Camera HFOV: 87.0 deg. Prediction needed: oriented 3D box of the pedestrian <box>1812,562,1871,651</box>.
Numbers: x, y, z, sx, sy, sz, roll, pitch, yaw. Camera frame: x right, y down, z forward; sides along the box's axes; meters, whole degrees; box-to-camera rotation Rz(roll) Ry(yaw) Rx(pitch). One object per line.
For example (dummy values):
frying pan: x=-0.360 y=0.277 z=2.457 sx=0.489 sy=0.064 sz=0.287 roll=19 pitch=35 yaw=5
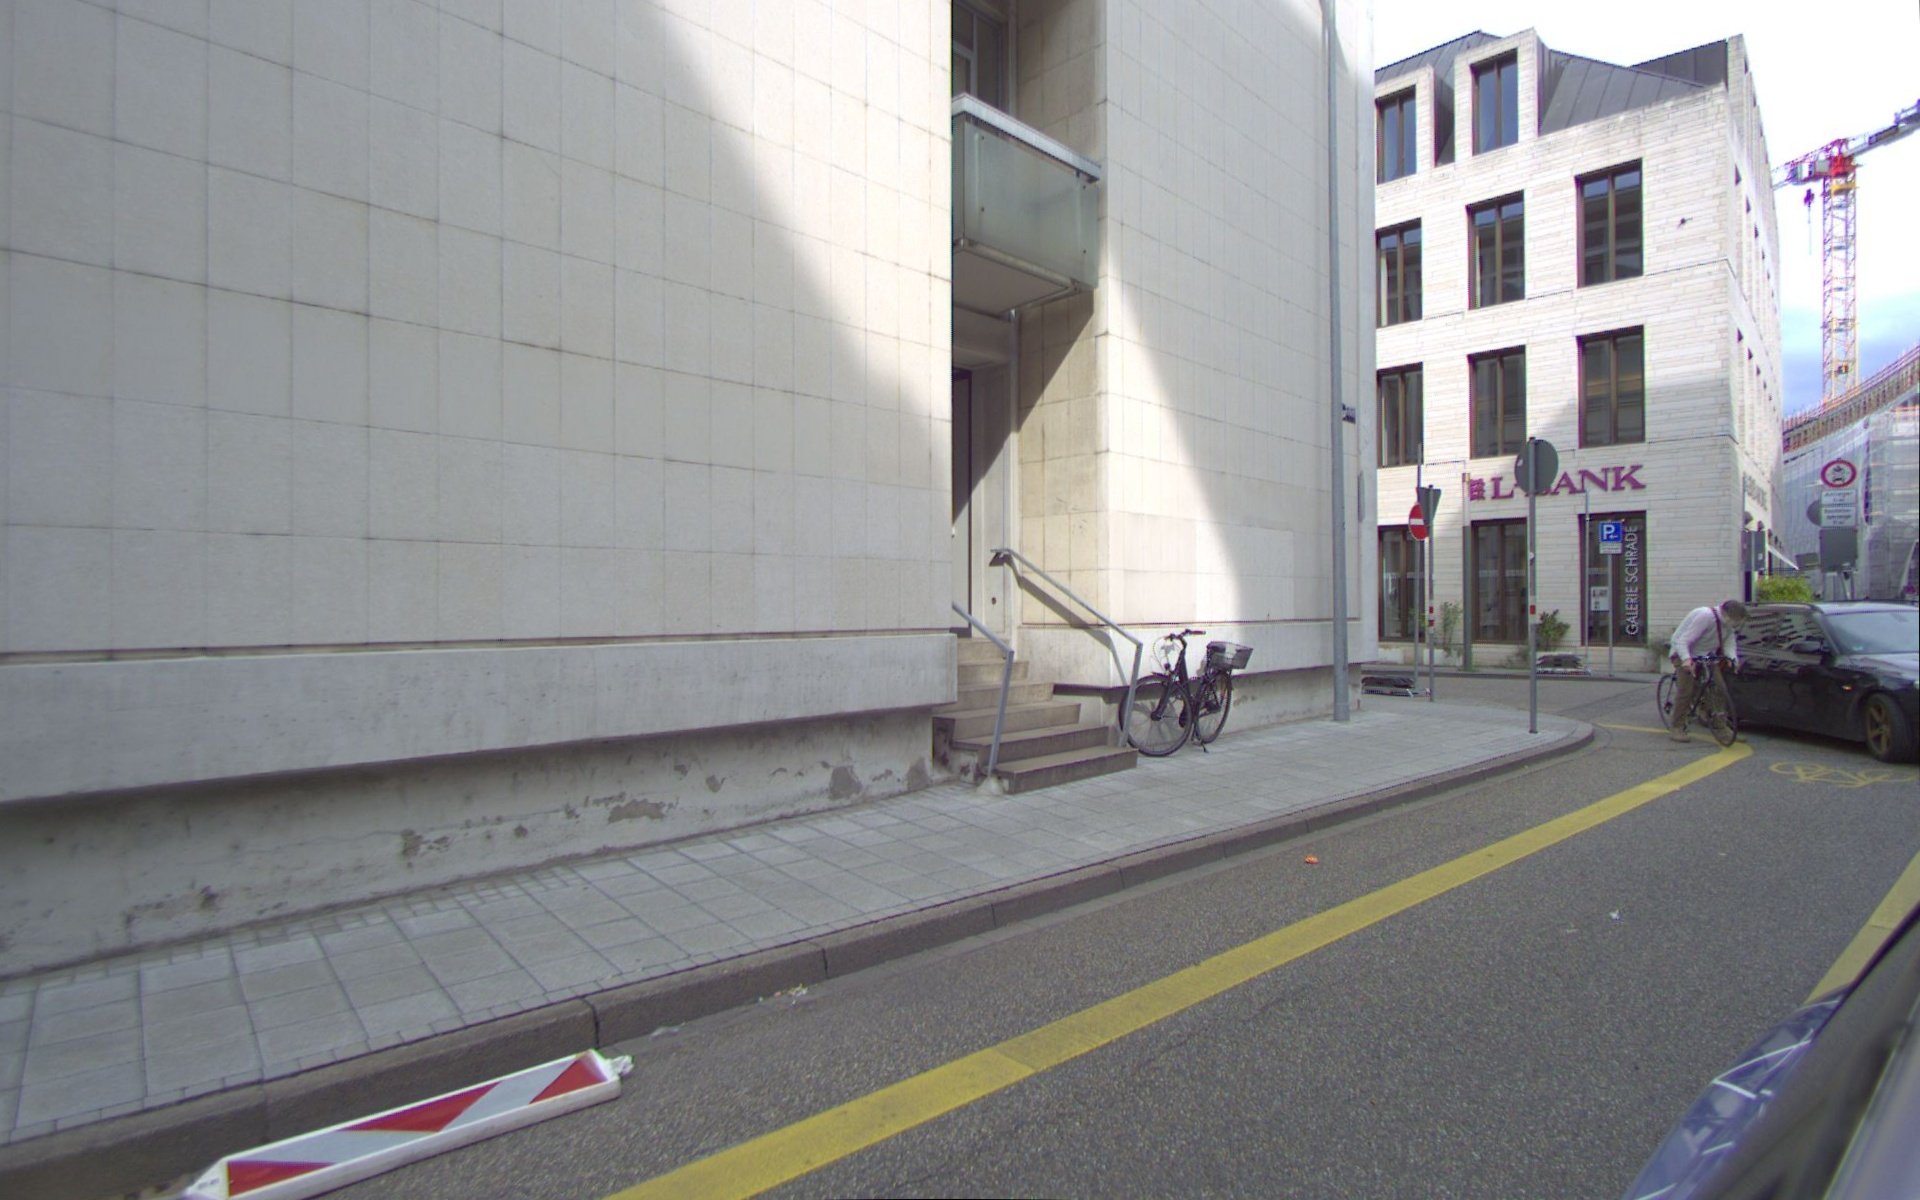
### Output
pedestrian: x=18.788 y=0.136 z=21.598 sx=0.767 sy=1.854 sz=0.853 roll=0 pitch=0 yaw=29

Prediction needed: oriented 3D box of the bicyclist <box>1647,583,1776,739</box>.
bicyclist: x=8.112 y=0.623 z=10.969 sx=0.881 sy=1.614 sz=0.872 roll=0 pitch=0 yaw=19

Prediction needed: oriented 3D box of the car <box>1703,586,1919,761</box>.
car: x=9.379 y=0.622 z=10.045 sx=1.690 sy=1.509 sz=3.754 roll=-1 pitch=0 yaw=10

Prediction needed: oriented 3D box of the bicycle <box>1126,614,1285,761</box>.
bicycle: x=2.281 y=0.737 z=9.251 sx=0.589 sy=1.182 sz=1.786 roll=0 pitch=0 yaw=44

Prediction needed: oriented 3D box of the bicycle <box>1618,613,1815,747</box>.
bicycle: x=8.189 y=0.783 z=11.153 sx=0.860 sy=1.209 sz=2.847 roll=0 pitch=0 yaw=18
